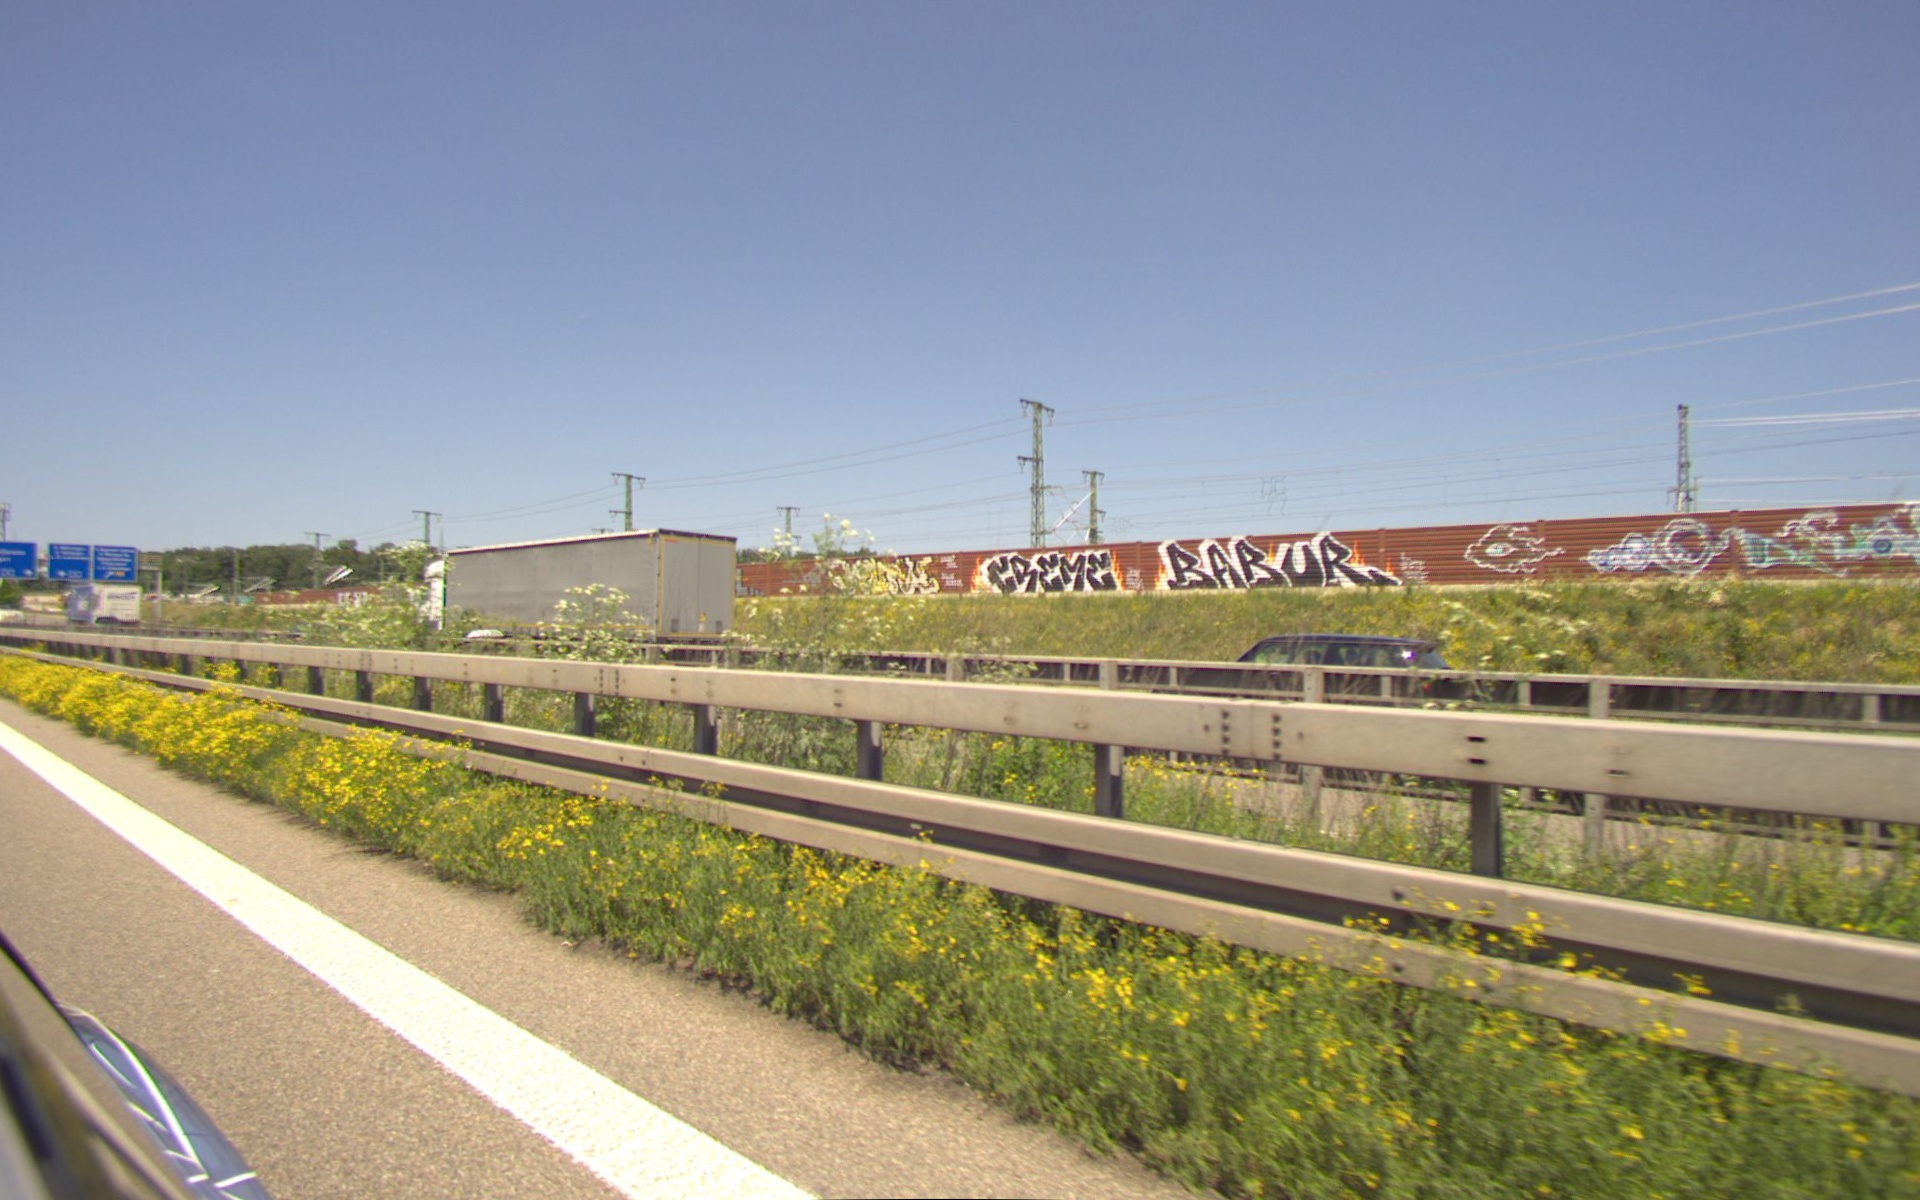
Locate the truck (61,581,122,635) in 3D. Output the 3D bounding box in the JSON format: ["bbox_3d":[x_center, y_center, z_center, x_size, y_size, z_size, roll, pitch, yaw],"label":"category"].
[{"bbox_3d":[-74.819,0.745,87.138,7.500,4.441,2.858,-1,-2,42],"label":"truck"}]

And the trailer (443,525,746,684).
[{"bbox_3d":[-11.954,0.234,31.725,13.522,4.105,2.701,-1,-2,41],"label":"trailer"}]

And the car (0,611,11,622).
[{"bbox_3d":[-159.059,2.748,167.827,4.511,1.739,1.973,-1,0,41],"label":"car"}]

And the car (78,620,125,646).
[{"bbox_3d":[-56.921,2.182,67.079,4.360,1.660,1.797,-1,-1,42],"label":"car"}]

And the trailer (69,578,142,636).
[{"bbox_3d":[-70.218,0.666,83.037,12.086,4.441,2.858,-1,-2,42],"label":"trailer"}]

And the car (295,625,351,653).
[{"bbox_3d":[-36.479,2.208,57.954,3.834,1.531,1.735,-1,-1,42],"label":"car"}]

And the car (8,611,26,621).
[{"bbox_3d":[-166.550,2.814,178.714,4.512,1.739,1.972,-1,0,42],"label":"car"}]

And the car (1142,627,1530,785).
[{"bbox_3d":[4.252,1.077,11.762,3.841,1.490,1.797,-1,-1,42],"label":"car"}]

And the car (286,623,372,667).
[{"bbox_3d":[-22.611,1.571,36.233,3.835,1.473,1.627,-1,-1,42],"label":"car"}]

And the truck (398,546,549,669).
[{"bbox_3d":[-17.821,0.337,36.920,6.379,4.103,2.701,-1,-2,42],"label":"truck"}]

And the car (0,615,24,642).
[{"bbox_3d":[-66.798,1.962,70.551,4.536,1.798,1.797,-1,-1,42],"label":"car"}]

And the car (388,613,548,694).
[{"bbox_3d":[-10.080,1.026,20.629,3.812,1.490,1.628,-1,-1,42],"label":"car"}]
